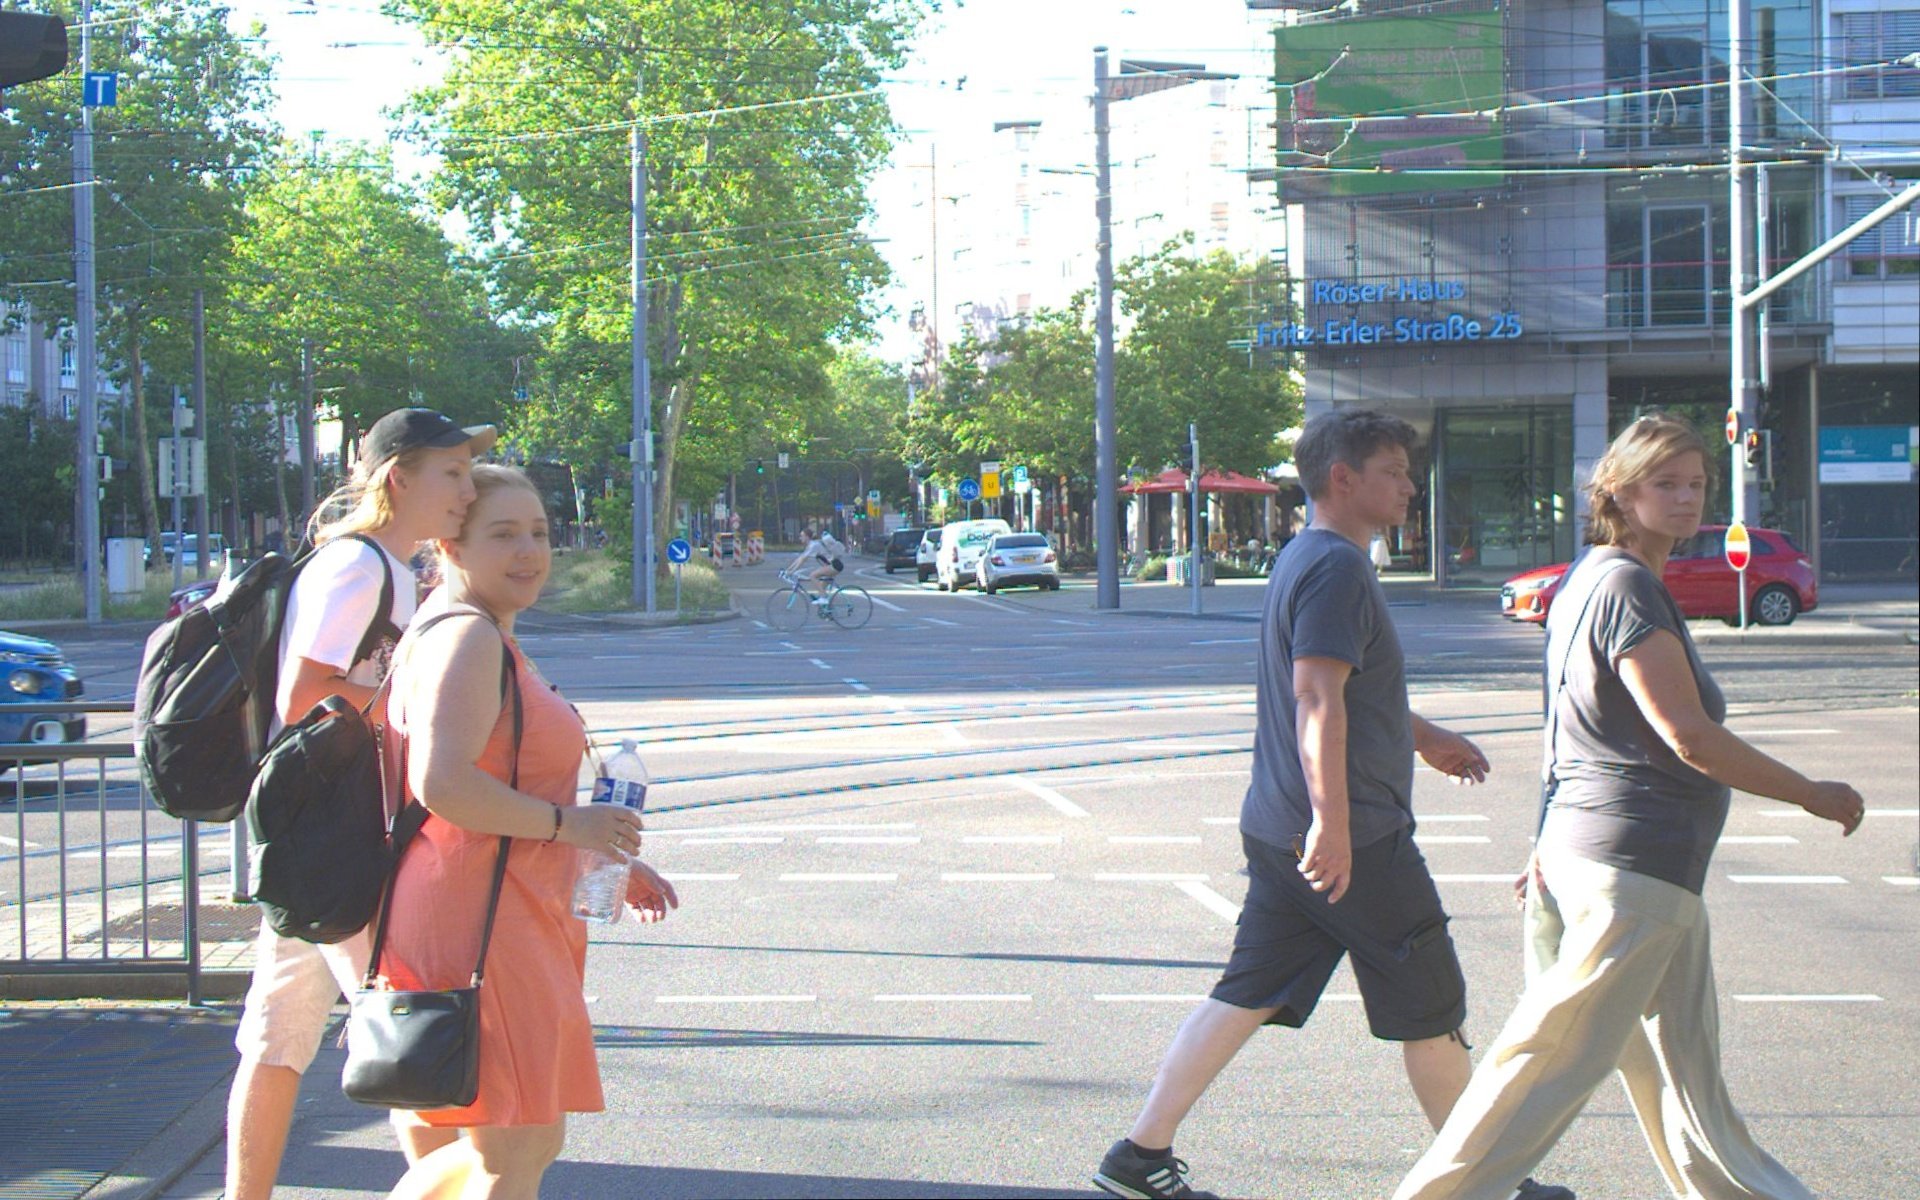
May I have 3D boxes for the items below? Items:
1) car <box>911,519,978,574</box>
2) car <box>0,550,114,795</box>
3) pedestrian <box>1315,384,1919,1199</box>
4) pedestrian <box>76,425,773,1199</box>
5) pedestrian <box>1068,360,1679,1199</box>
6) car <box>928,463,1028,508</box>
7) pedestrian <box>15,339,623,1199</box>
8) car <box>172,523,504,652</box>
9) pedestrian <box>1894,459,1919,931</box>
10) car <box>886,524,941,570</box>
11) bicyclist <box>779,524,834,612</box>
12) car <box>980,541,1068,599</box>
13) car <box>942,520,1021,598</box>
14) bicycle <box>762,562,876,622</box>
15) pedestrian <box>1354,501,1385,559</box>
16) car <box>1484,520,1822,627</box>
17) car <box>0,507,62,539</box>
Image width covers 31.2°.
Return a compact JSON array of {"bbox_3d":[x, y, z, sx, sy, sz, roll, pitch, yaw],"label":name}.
[{"bbox_3d":[-0.494,-1.658,106.023,1.993,1.656,4.000,-1,1,-1],"label":"car"},{"bbox_3d":[-7.484,0.449,21.472,3.953,1.451,2.000,-1,1,-4],"label":"car"},{"bbox_3d":[1.308,0.507,6.677,1.071,1.800,0.758,0,1,-7],"label":"pedestrian"},{"bbox_3d":[-0.883,0.565,5.768,1.072,1.676,0.758,0,1,-7],"label":"pedestrian"},{"bbox_3d":[0.878,0.449,7.555,1.145,1.887,0.833,0,1,-7],"label":"pedestrian"},{"bbox_3d":[0.748,-4.732,142.262,3.764,1.744,1.780,1,1,14],"label":"car"},{"bbox_3d":[-1.202,0.464,6.583,1.073,1.865,0.739,0,1,-7],"label":"pedestrian"},{"bbox_3d":[-8.266,-0.185,45.731,4.239,1.596,1.796,-1,1,-11],"label":"car"},{"bbox_3d":[4.329,0.377,13.011,1.208,1.816,1.042,1,1,-6],"label":"pedestrian"},{"bbox_3d":[-1.724,-1.976,127.739,1.993,1.656,4.000,-1,1,-1],"label":"car"},{"bbox_3d":[-2.396,-0.502,53.506,0.819,1.362,0.400,-1,1,-4],"label":"bicyclist"},{"bbox_3d":[1.539,-0.743,83.881,1.993,1.327,4.000,-1,1,-1],"label":"car"},{"bbox_3d":[0.544,-1.096,90.715,1.993,1.985,4.000,-1,1,-1],"label":"car"},{"bbox_3d":[-2.203,-0.130,53.529,1.741,0.896,0.409,-1,1,-5],"label":"bicycle"},{"bbox_3d":[10.443,-1.792,87.601,0.739,1.460,0.536,-1,1,9],"label":"pedestrian"},{"bbox_3d":[9.571,-0.380,47.660,4.240,1.387,1.796,-1,1,-4],"label":"car"},{"bbox_3d":[-47.605,-3.887,173.778,3.987,1.547,1.607,1,1,-31],"label":"car"}]
